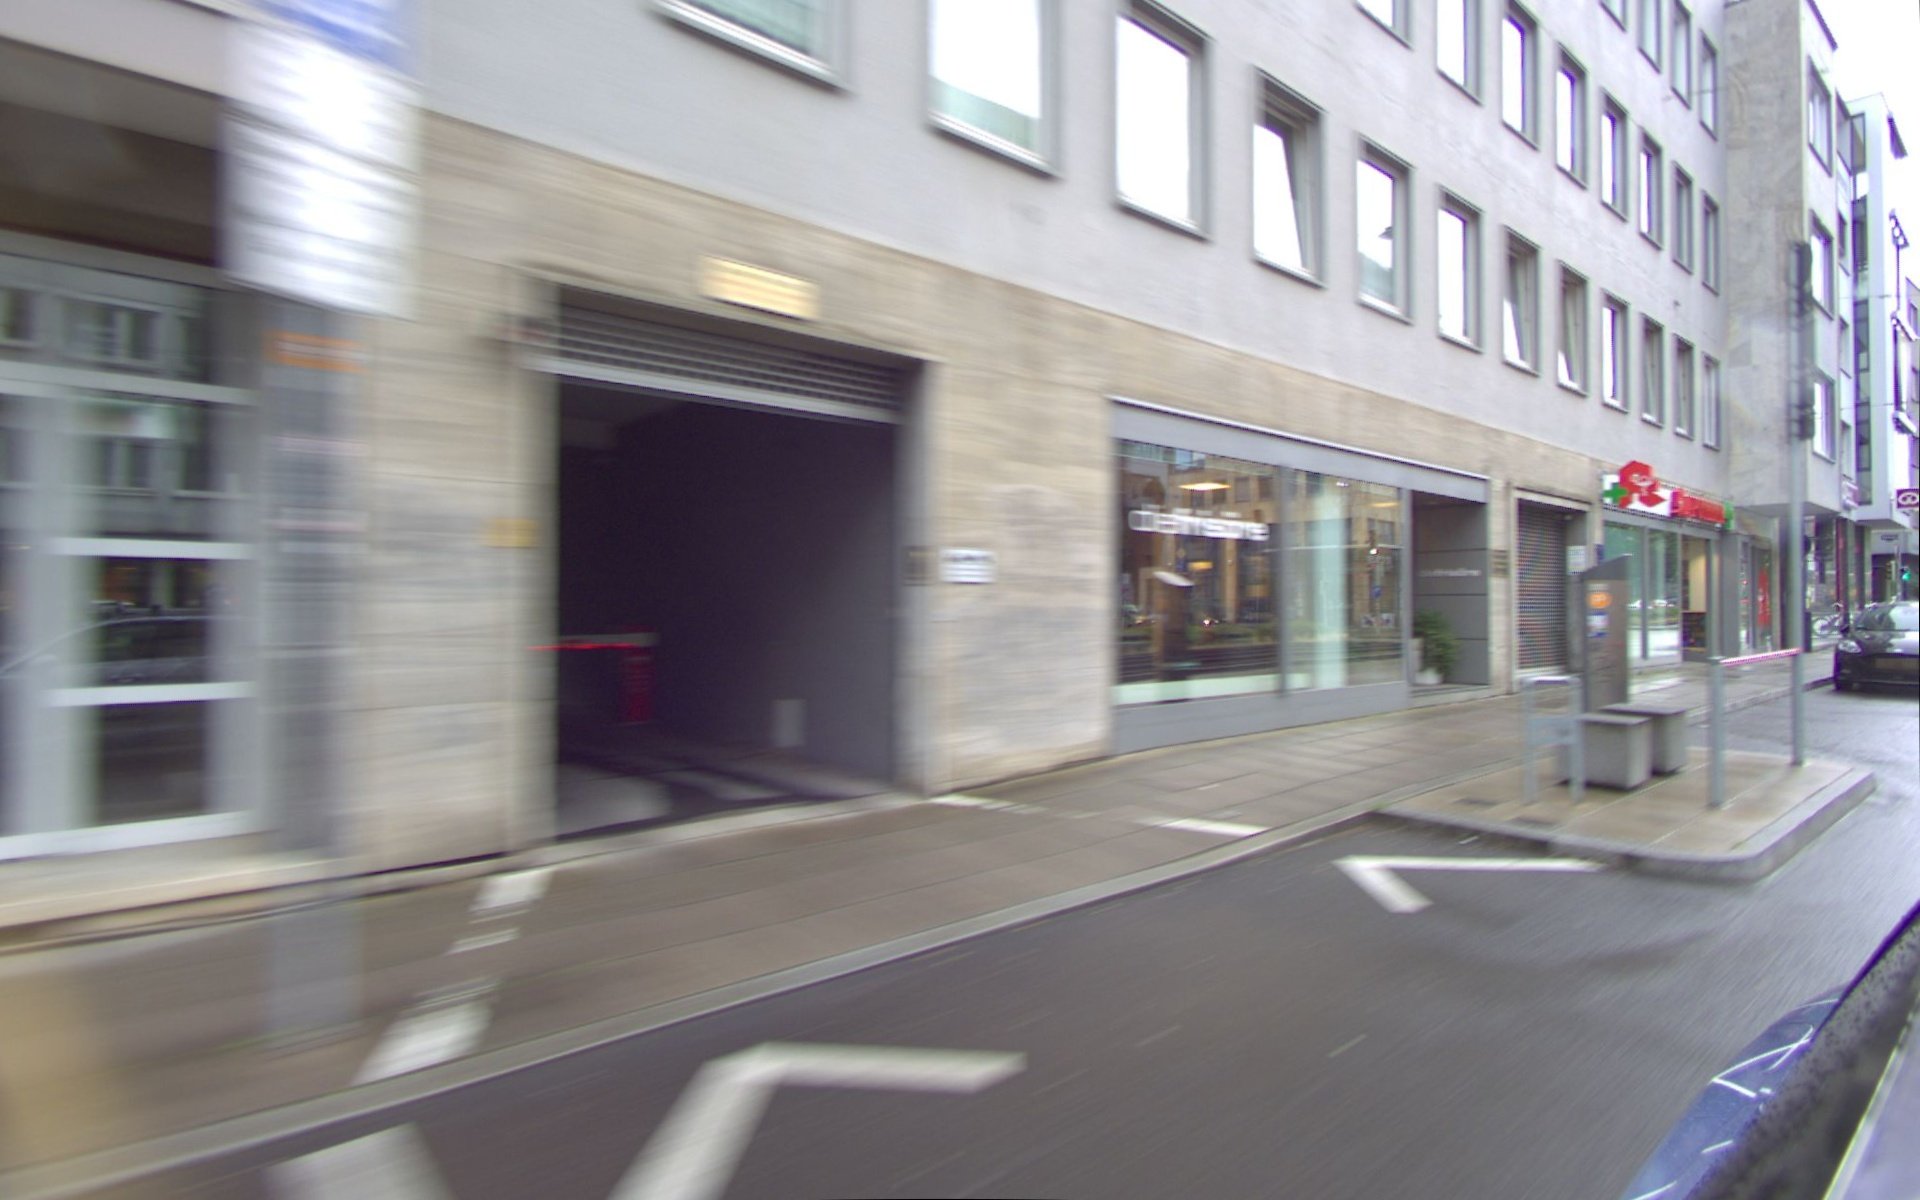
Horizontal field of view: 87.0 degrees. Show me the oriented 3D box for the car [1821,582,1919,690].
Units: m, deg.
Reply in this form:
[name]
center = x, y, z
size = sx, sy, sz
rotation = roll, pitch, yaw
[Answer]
[car]
center = 16.033, 0.513, 16.808
size = 4.196, 1.614, 1.997
rotation = -1, 1, -40
